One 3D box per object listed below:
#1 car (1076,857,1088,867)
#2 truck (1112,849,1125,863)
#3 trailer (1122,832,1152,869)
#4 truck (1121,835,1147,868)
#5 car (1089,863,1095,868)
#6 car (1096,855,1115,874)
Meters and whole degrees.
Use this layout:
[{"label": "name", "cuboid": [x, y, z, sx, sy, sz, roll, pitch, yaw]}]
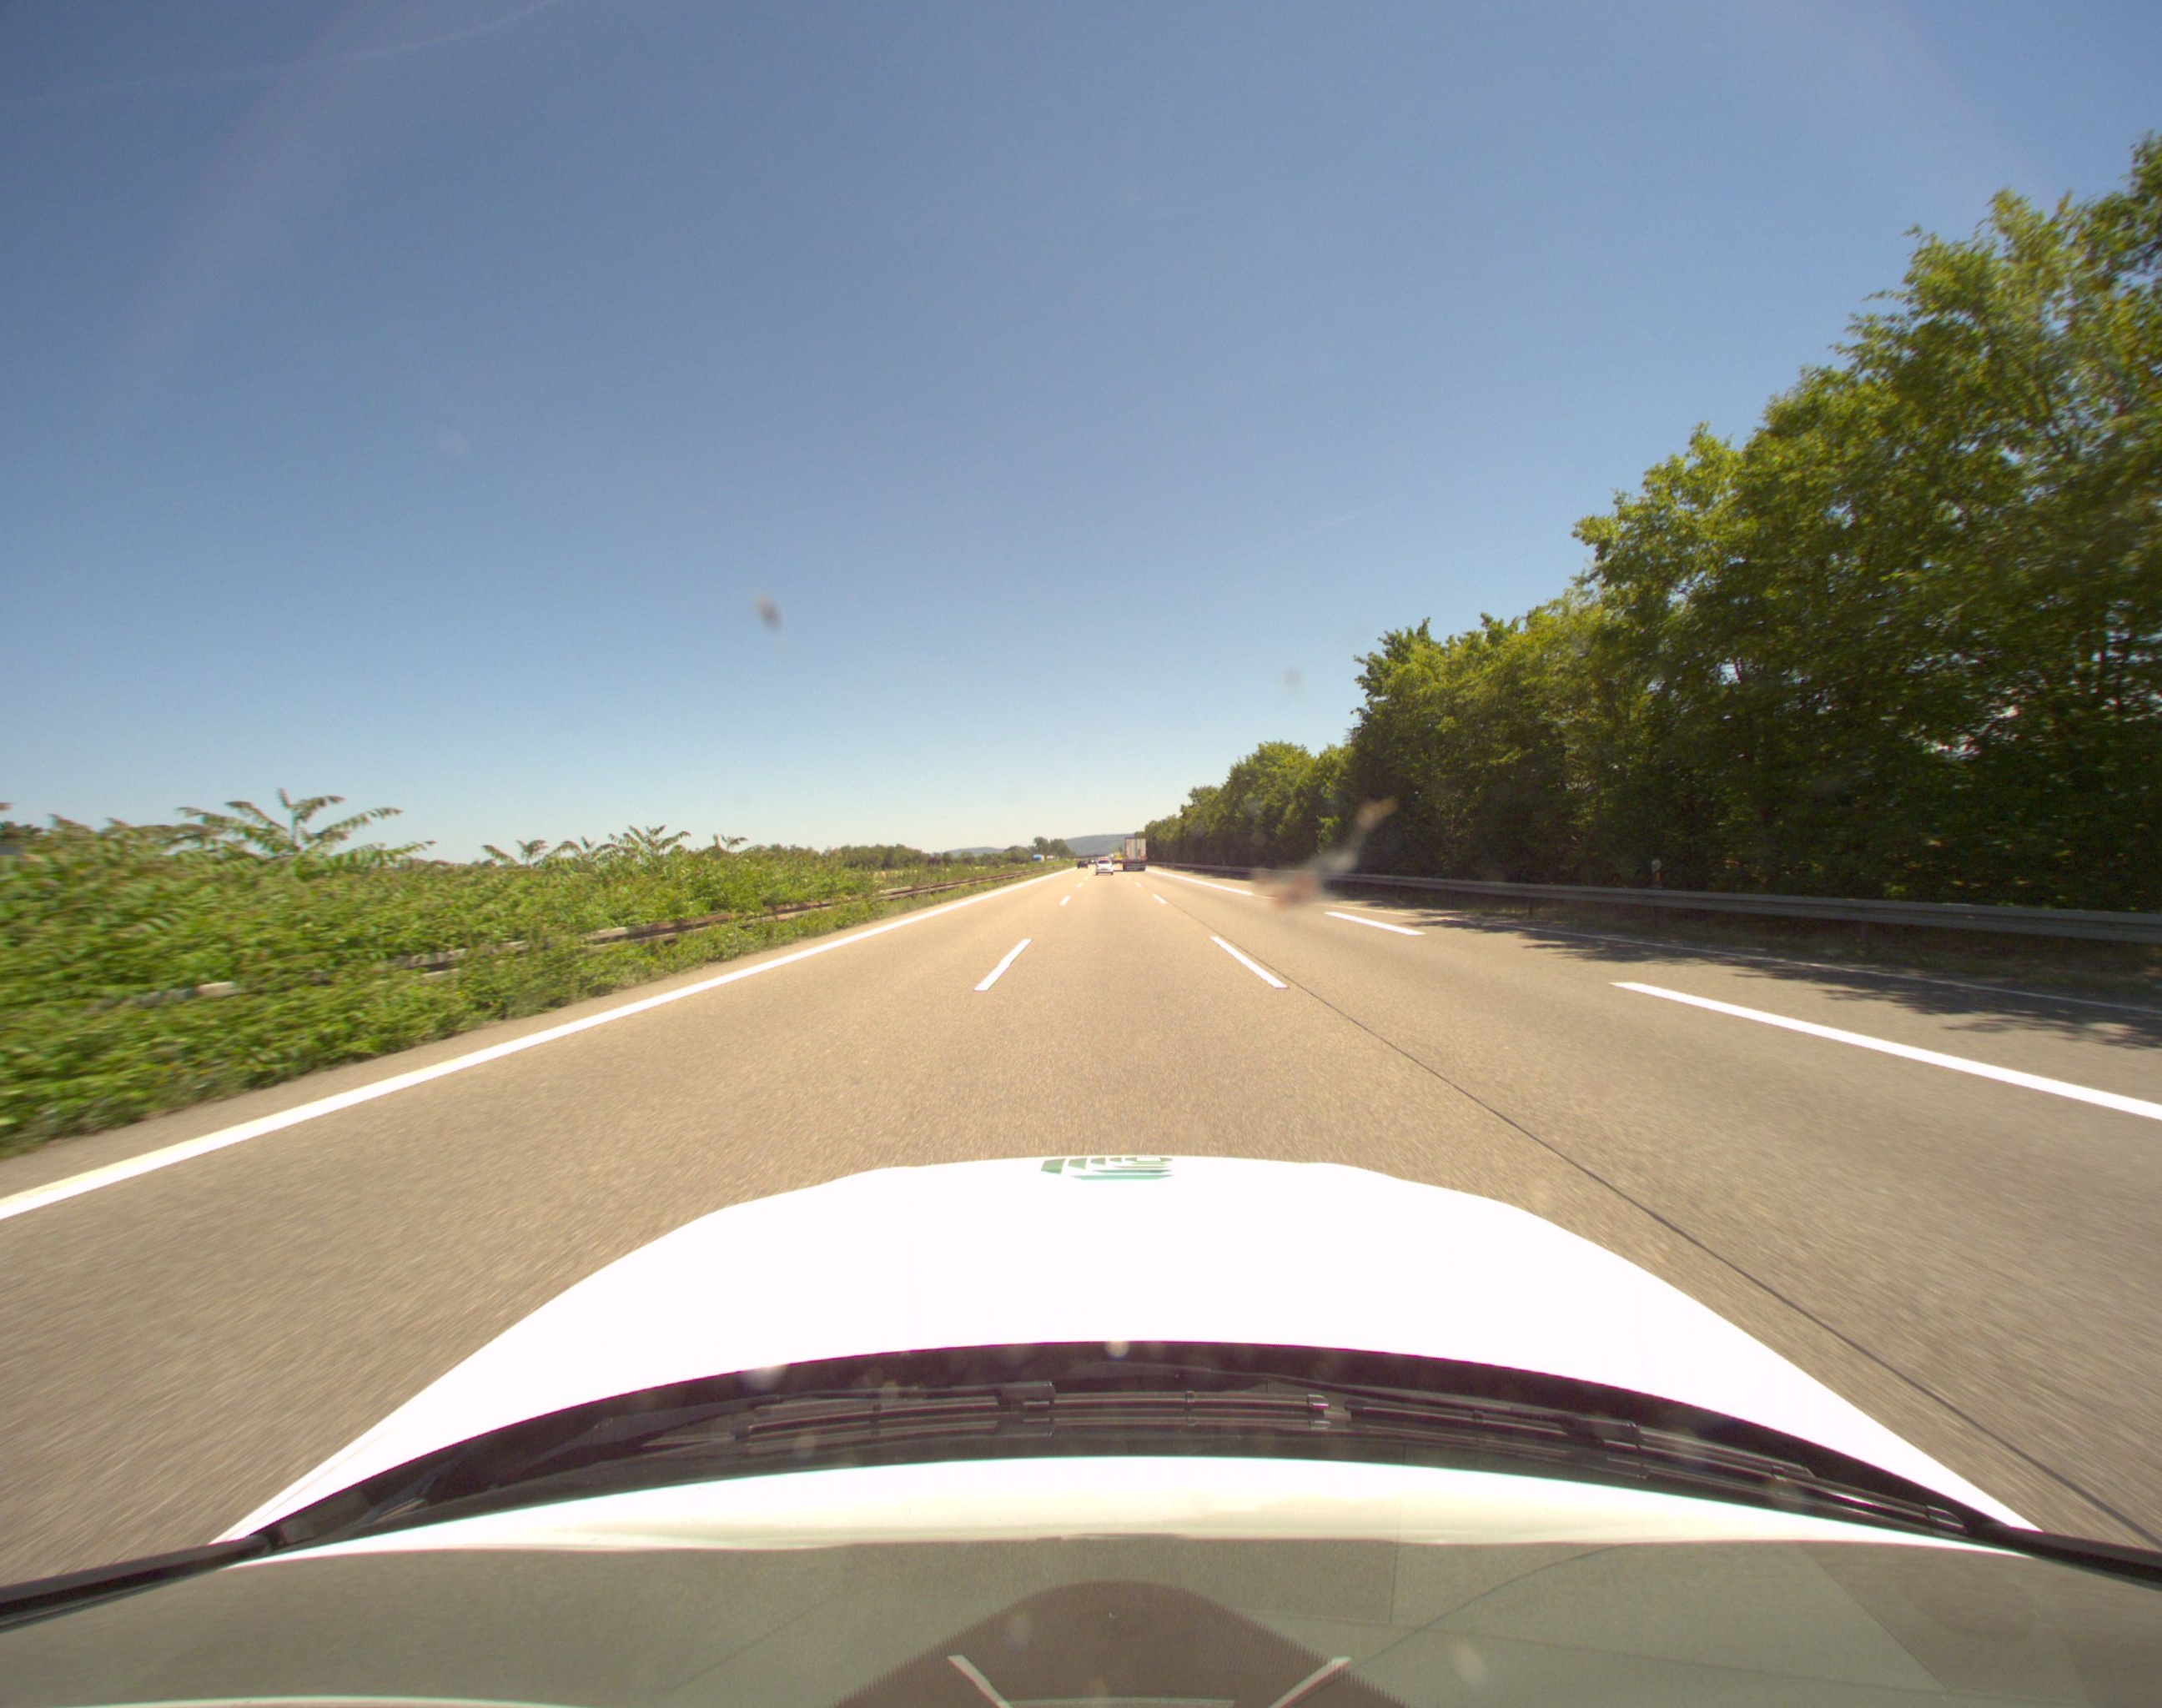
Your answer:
[{"label": "car", "cuboid": [0.234, 1.415, 140.204, 1.987, 1.712, 4.000, 0, 0, 1]}, {"label": "truck", "cuboid": [11.569, 0.678, 252.871, 3.857, 4.345, 13.863, 0, 0, 1]}, {"label": "trailer", "cuboid": [6.973, -0.396, 103.480, 3.206, 4.345, 13.631, 0, 0, 1]}, {"label": "truck", "cuboid": [7.111, -0.355, 110.609, 3.206, 4.345, 6.591, 0, 0, 1]}, {"label": "car", "cuboid": [3.279, 3.322, 237.551, 1.789, 1.551, 4.001, -1, -1, 1]}, {"label": "car", "cuboid": [2.351, 1.005, 79.200, 1.726, 1.684, 4.000, -2, 0, 1]}]
